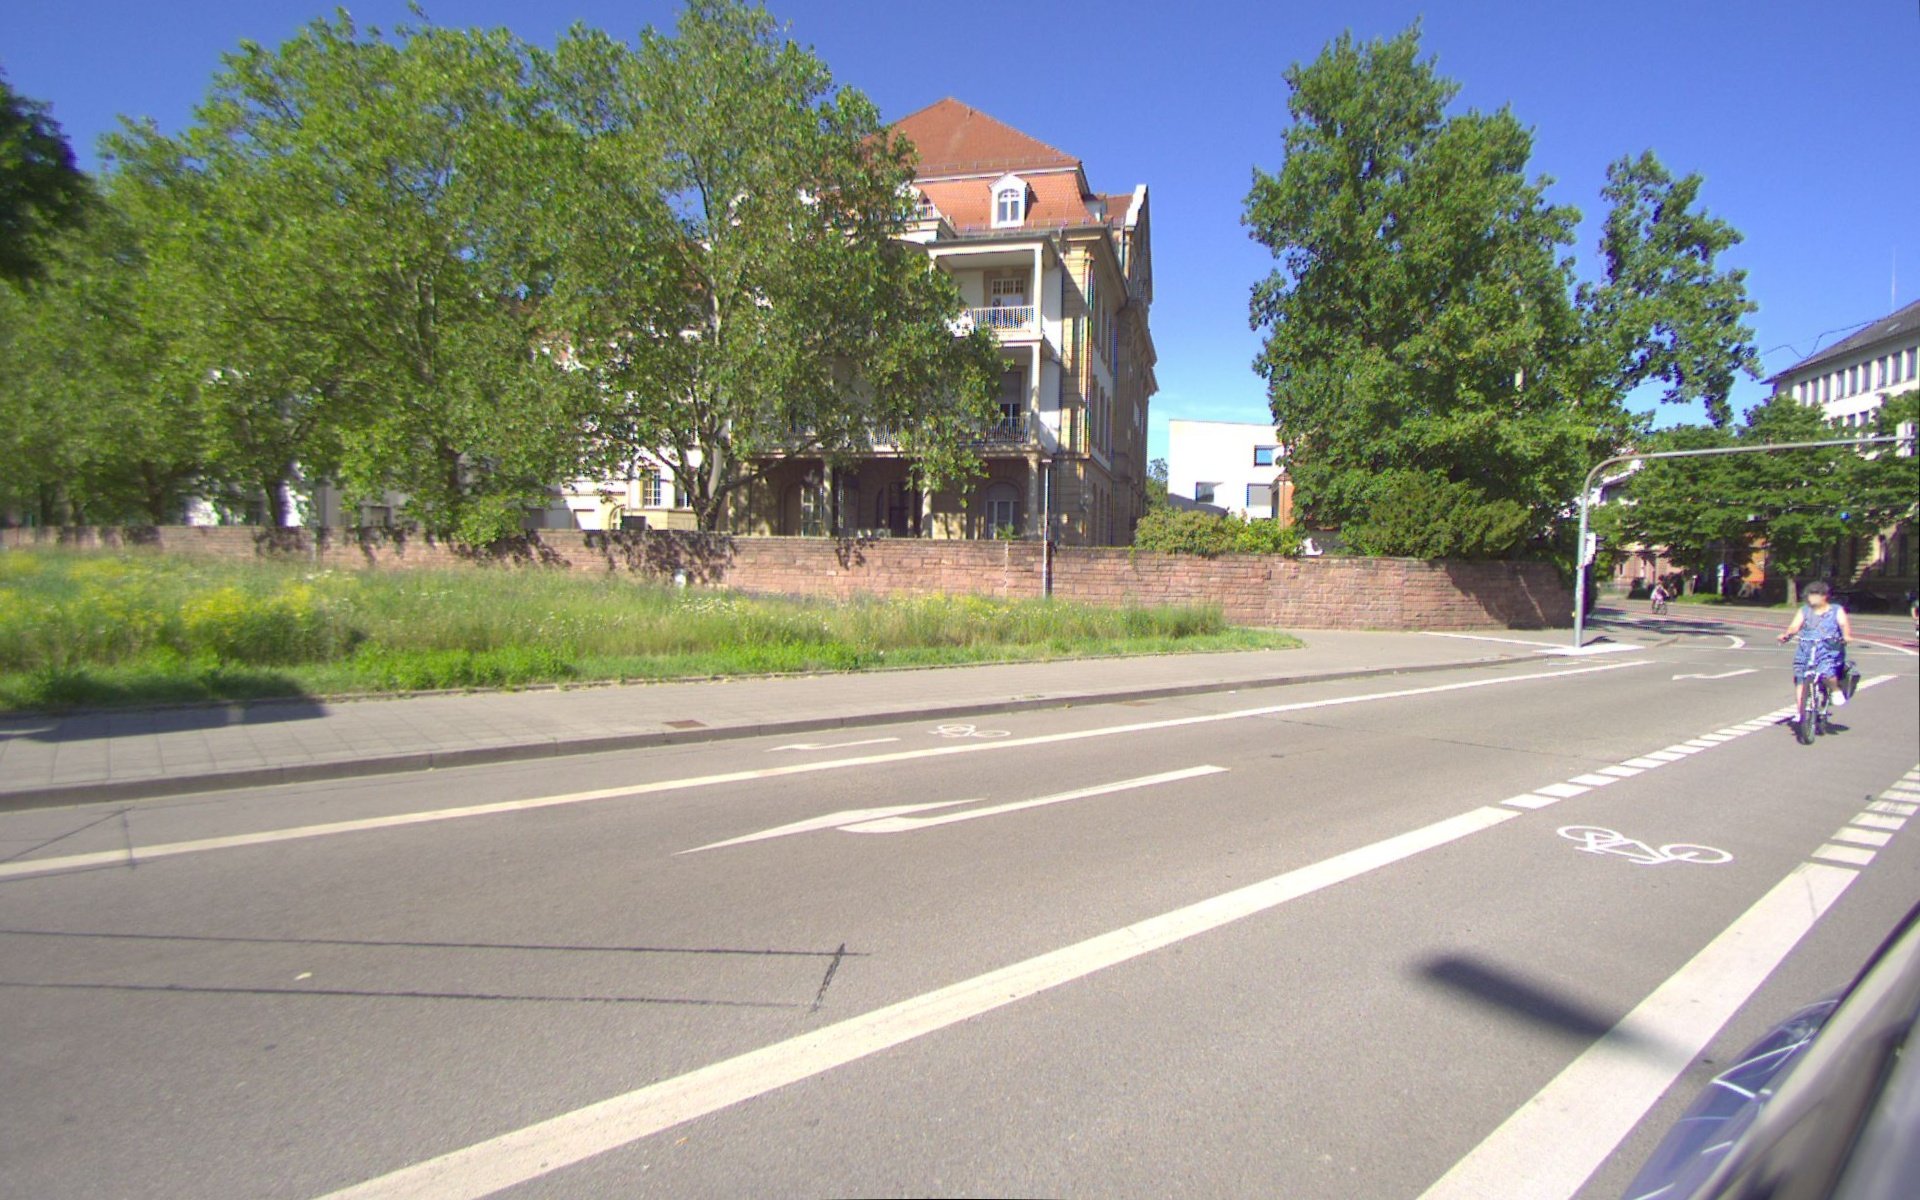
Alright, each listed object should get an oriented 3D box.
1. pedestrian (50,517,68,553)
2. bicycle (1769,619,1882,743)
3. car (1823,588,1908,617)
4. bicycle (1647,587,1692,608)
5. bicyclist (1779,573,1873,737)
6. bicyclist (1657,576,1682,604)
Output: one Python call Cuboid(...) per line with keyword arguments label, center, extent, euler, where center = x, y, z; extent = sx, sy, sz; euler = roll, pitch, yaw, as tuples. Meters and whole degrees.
Cuboid(label="pedestrian", center=(-42.806, -3.088, 48.100), extent=(0.642, 1.631, 0.557), euler=(0, 0, -42))
Cuboid(label="bicycle", center=(9.414, 0.823, 10.987), extent=(1.933, 1.179, 0.642), euler=(0, 1, -41))
Cuboid(label="car", center=(60.918, 0.156, 68.148), extent=(3.731, 1.838, 1.999), euler=(1, 2, 3))
Cuboid(label="bicycle", center=(40.797, -0.154, 58.241), extent=(0.763, 1.179, 1.971), euler=(0, 1, -26))
Cuboid(label="bicyclist", center=(9.366, 0.558, 10.946), extent=(0.763, 1.683, 0.642), euler=(-1, 2, -41))
Cuboid(label="bicyclist", center=(40.806, -0.589, 58.219), extent=(0.763, 1.571, 0.921), euler=(0, 1, -26))
